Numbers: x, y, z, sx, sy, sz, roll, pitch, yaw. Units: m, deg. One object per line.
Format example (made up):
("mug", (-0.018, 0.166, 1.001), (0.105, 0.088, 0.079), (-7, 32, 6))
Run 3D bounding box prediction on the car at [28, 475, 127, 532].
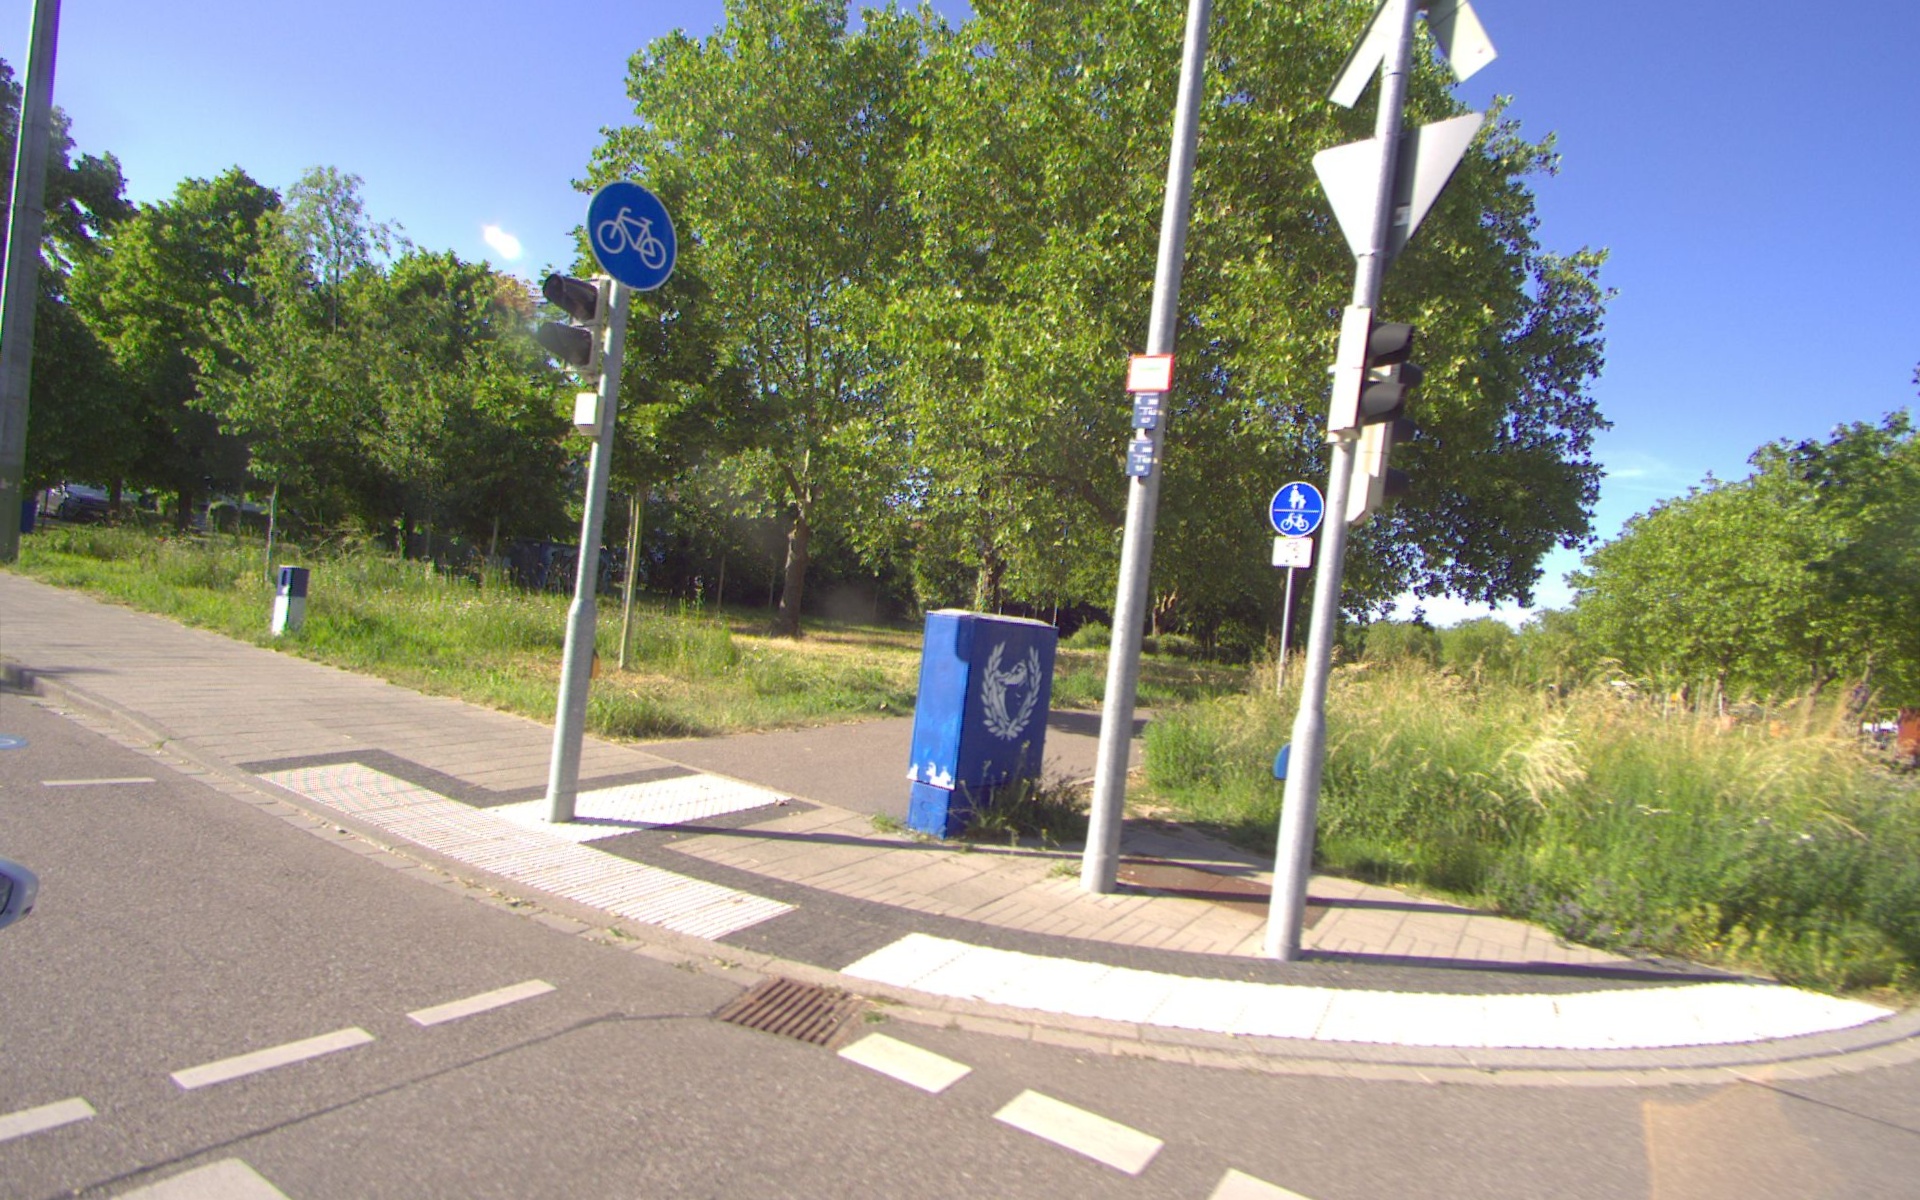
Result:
("car", (-39.351, -4.334, 44.834), (5.082, 1.990, 1.874), (7, 0, 33))
